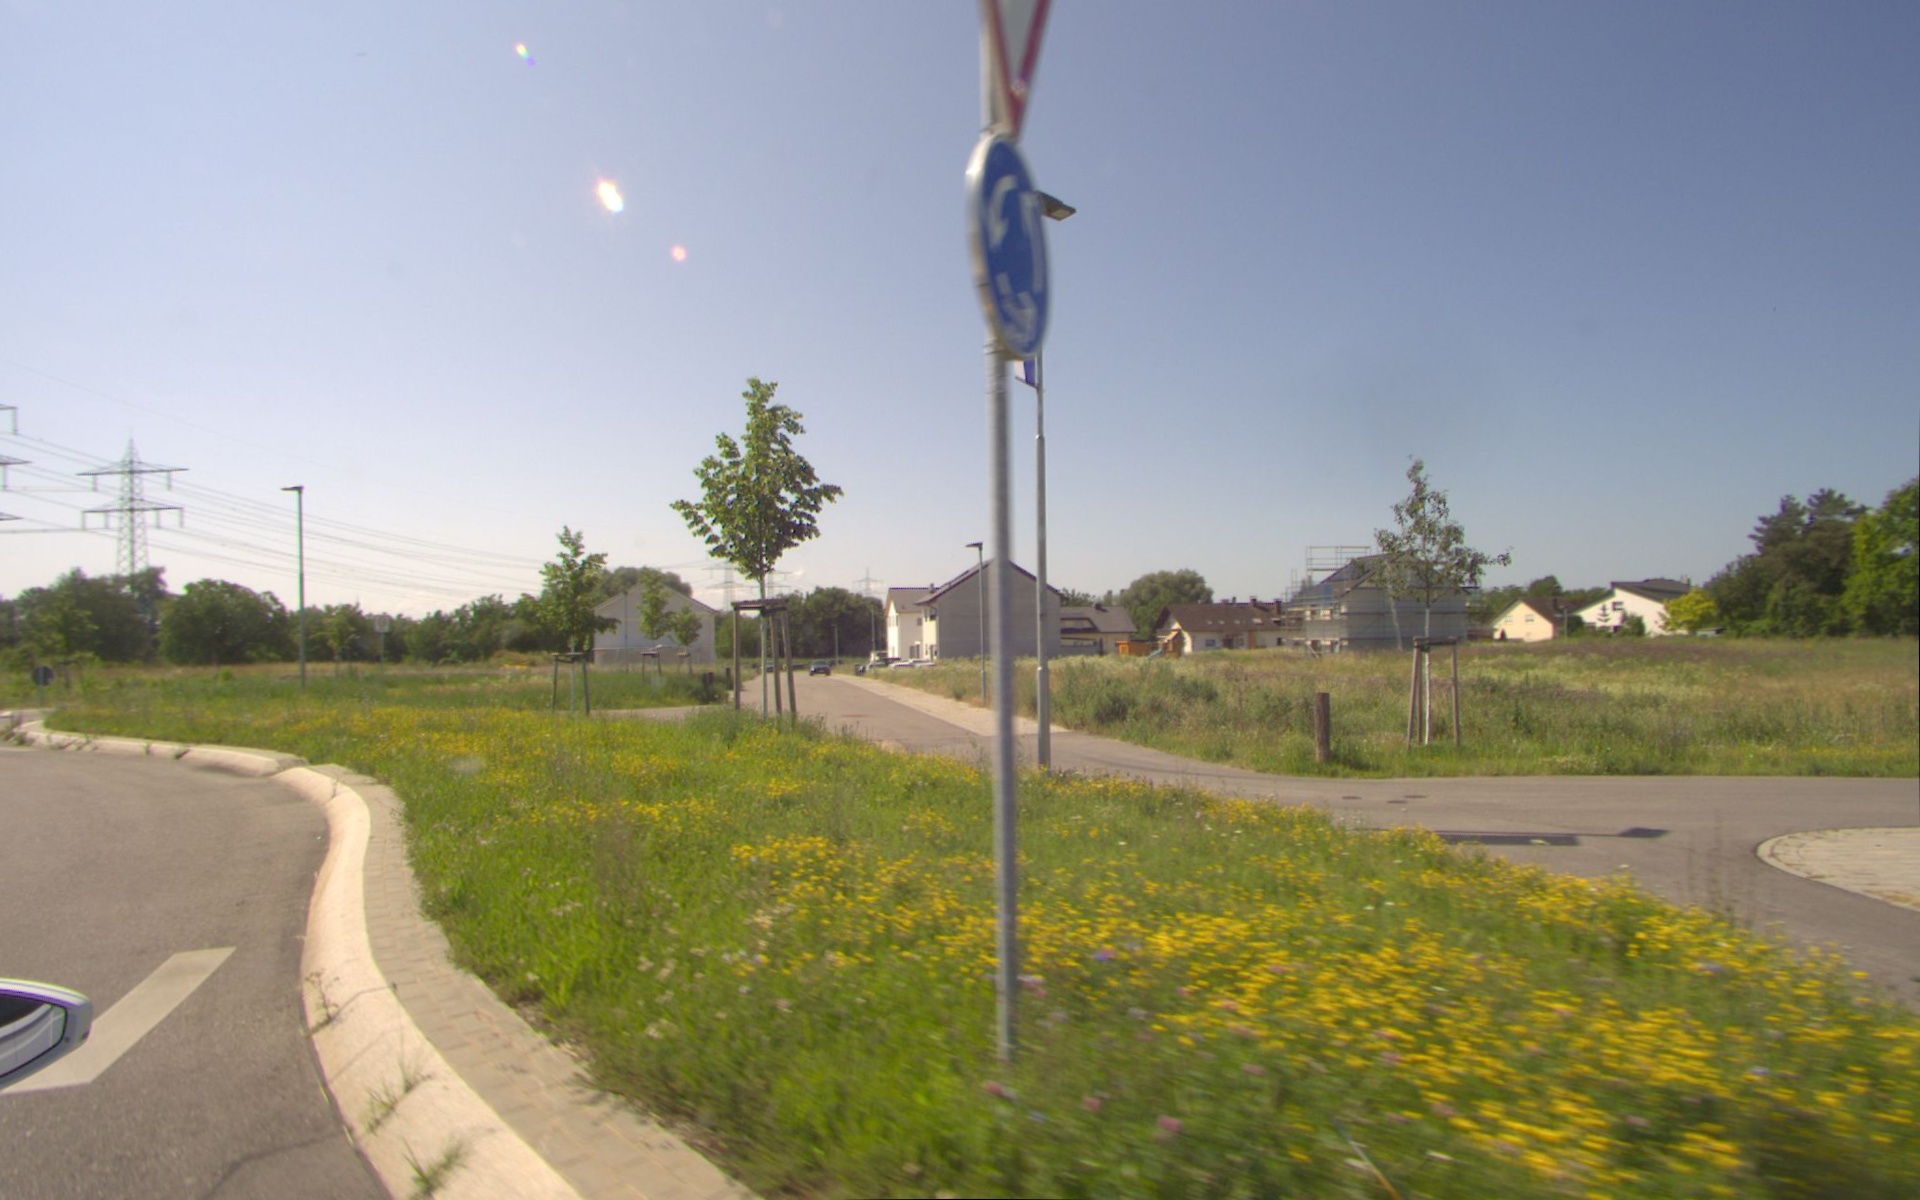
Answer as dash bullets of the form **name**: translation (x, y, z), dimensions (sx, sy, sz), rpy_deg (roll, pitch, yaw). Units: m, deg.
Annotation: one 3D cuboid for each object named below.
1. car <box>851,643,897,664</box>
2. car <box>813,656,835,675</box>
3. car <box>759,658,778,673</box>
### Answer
- **car**: translation (-7.732, 4.774, 89.557), dimensions (3.924, 1.816, 2.000), rpy_deg (-1, -2, -9)
- **car**: translation (-12.695, 6.091, 93.508), dimensions (1.649, 1.682, 3.490), rpy_deg (-1, -4, -1)
- **car**: translation (-22.830, 7.778, 119.343), dimensions (1.649, 1.682, 3.490), rpy_deg (-1, -4, -1)
